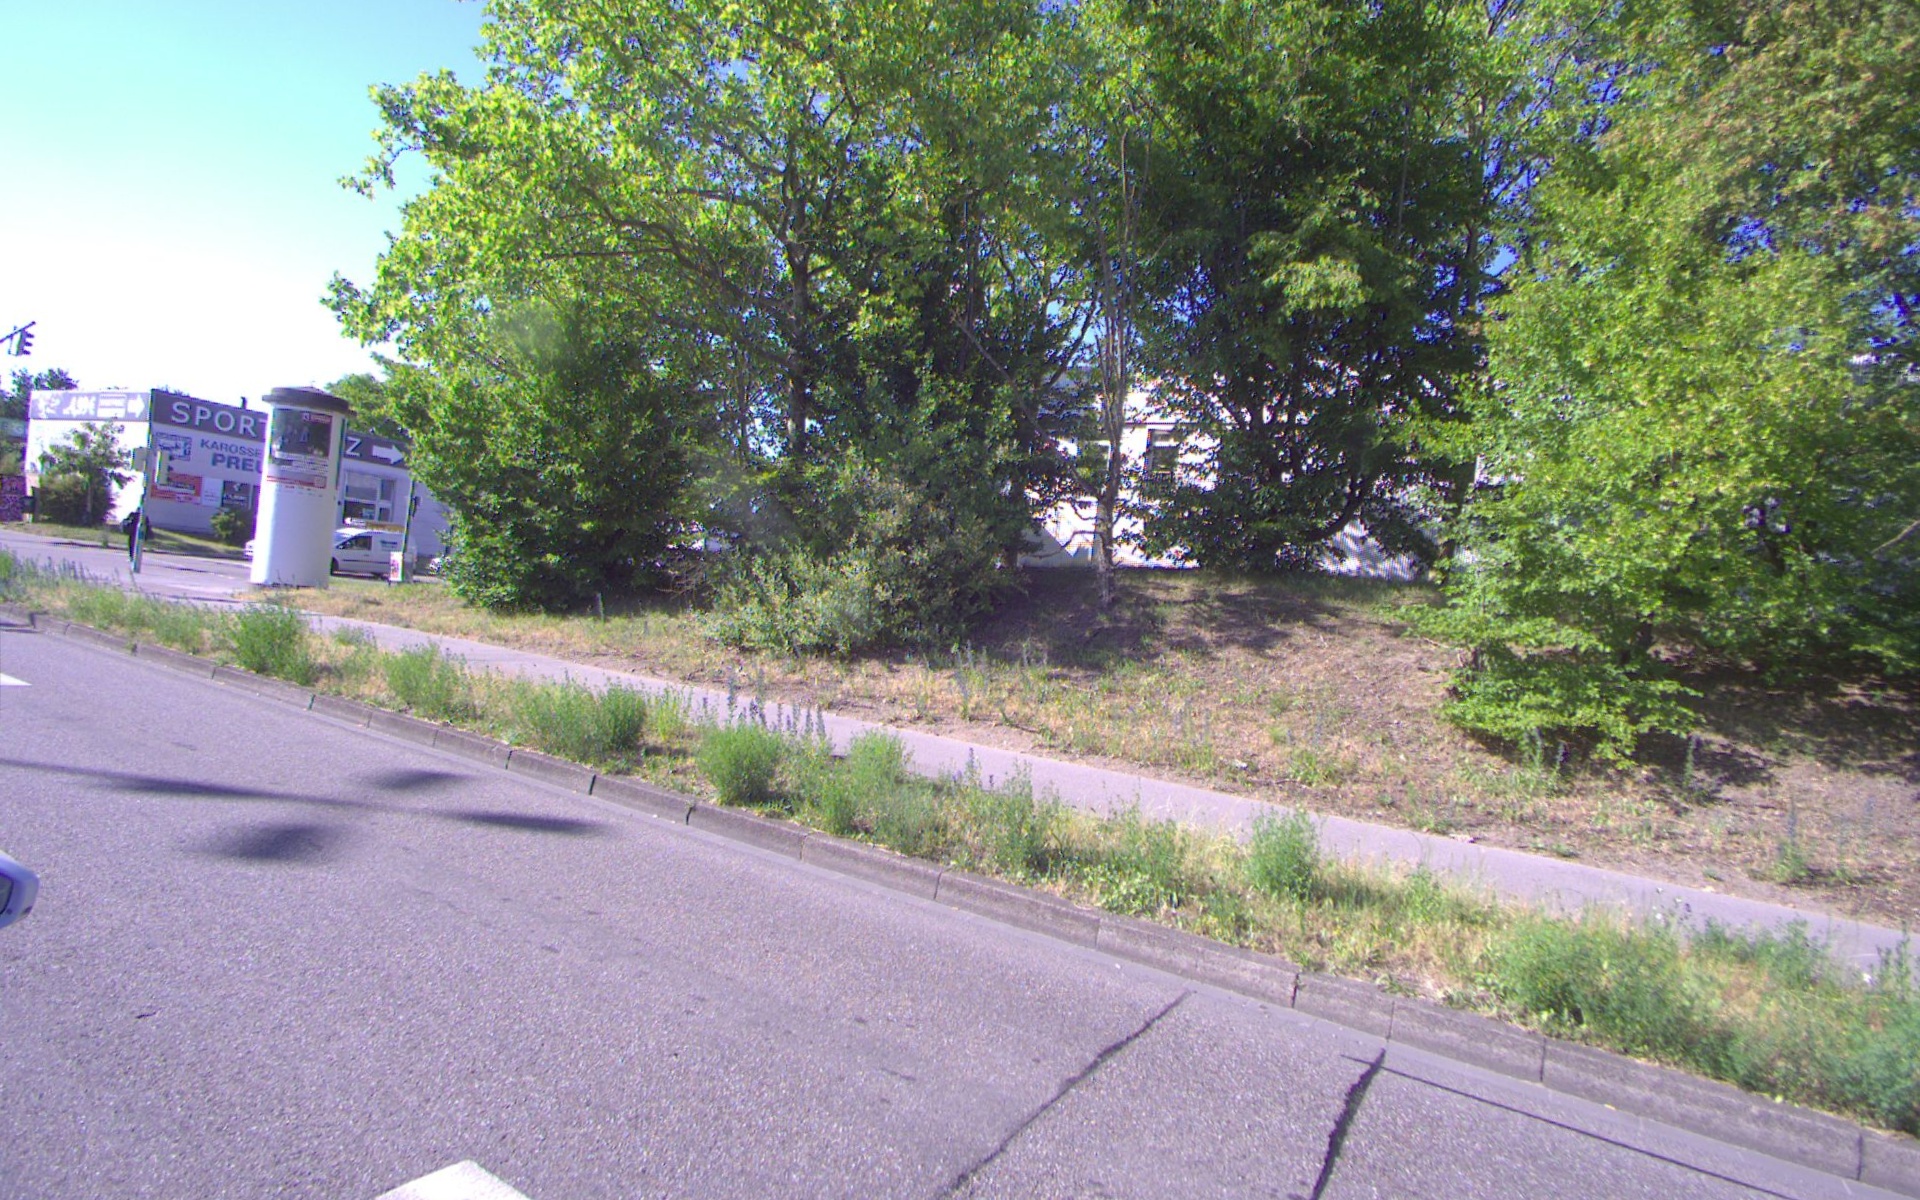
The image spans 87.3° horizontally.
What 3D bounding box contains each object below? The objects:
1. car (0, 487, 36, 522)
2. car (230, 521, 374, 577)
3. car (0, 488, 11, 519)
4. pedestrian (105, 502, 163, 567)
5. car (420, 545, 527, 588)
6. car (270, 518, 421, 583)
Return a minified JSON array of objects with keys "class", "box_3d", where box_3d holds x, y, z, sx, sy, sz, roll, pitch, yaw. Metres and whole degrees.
[{"class":"car","box_3d":[-45.823,-4.647,46.300,1.828,1.472,4.490,6,1,33]},{"class":"car","box_3d":[-25.653,-1.950,39.382,1.735,1.568,4.293,8,1,30]},{"class":"car","box_3d":[-48.618,-4.918,48.045,1.828,1.472,4.490,6,1,33]},{"class":"pedestrian","box_3d":[-24.534,-1.933,29.886,0.923,1.755,0.927,6,-2,31]},{"class":"car","box_3d":[-22.055,-1.511,45.765,1.753,1.509,4.046,6,0,30]},{"class":"car","box_3d":[-22.875,-1.798,37.635,1.735,1.824,4.387,8,1,30]}]
